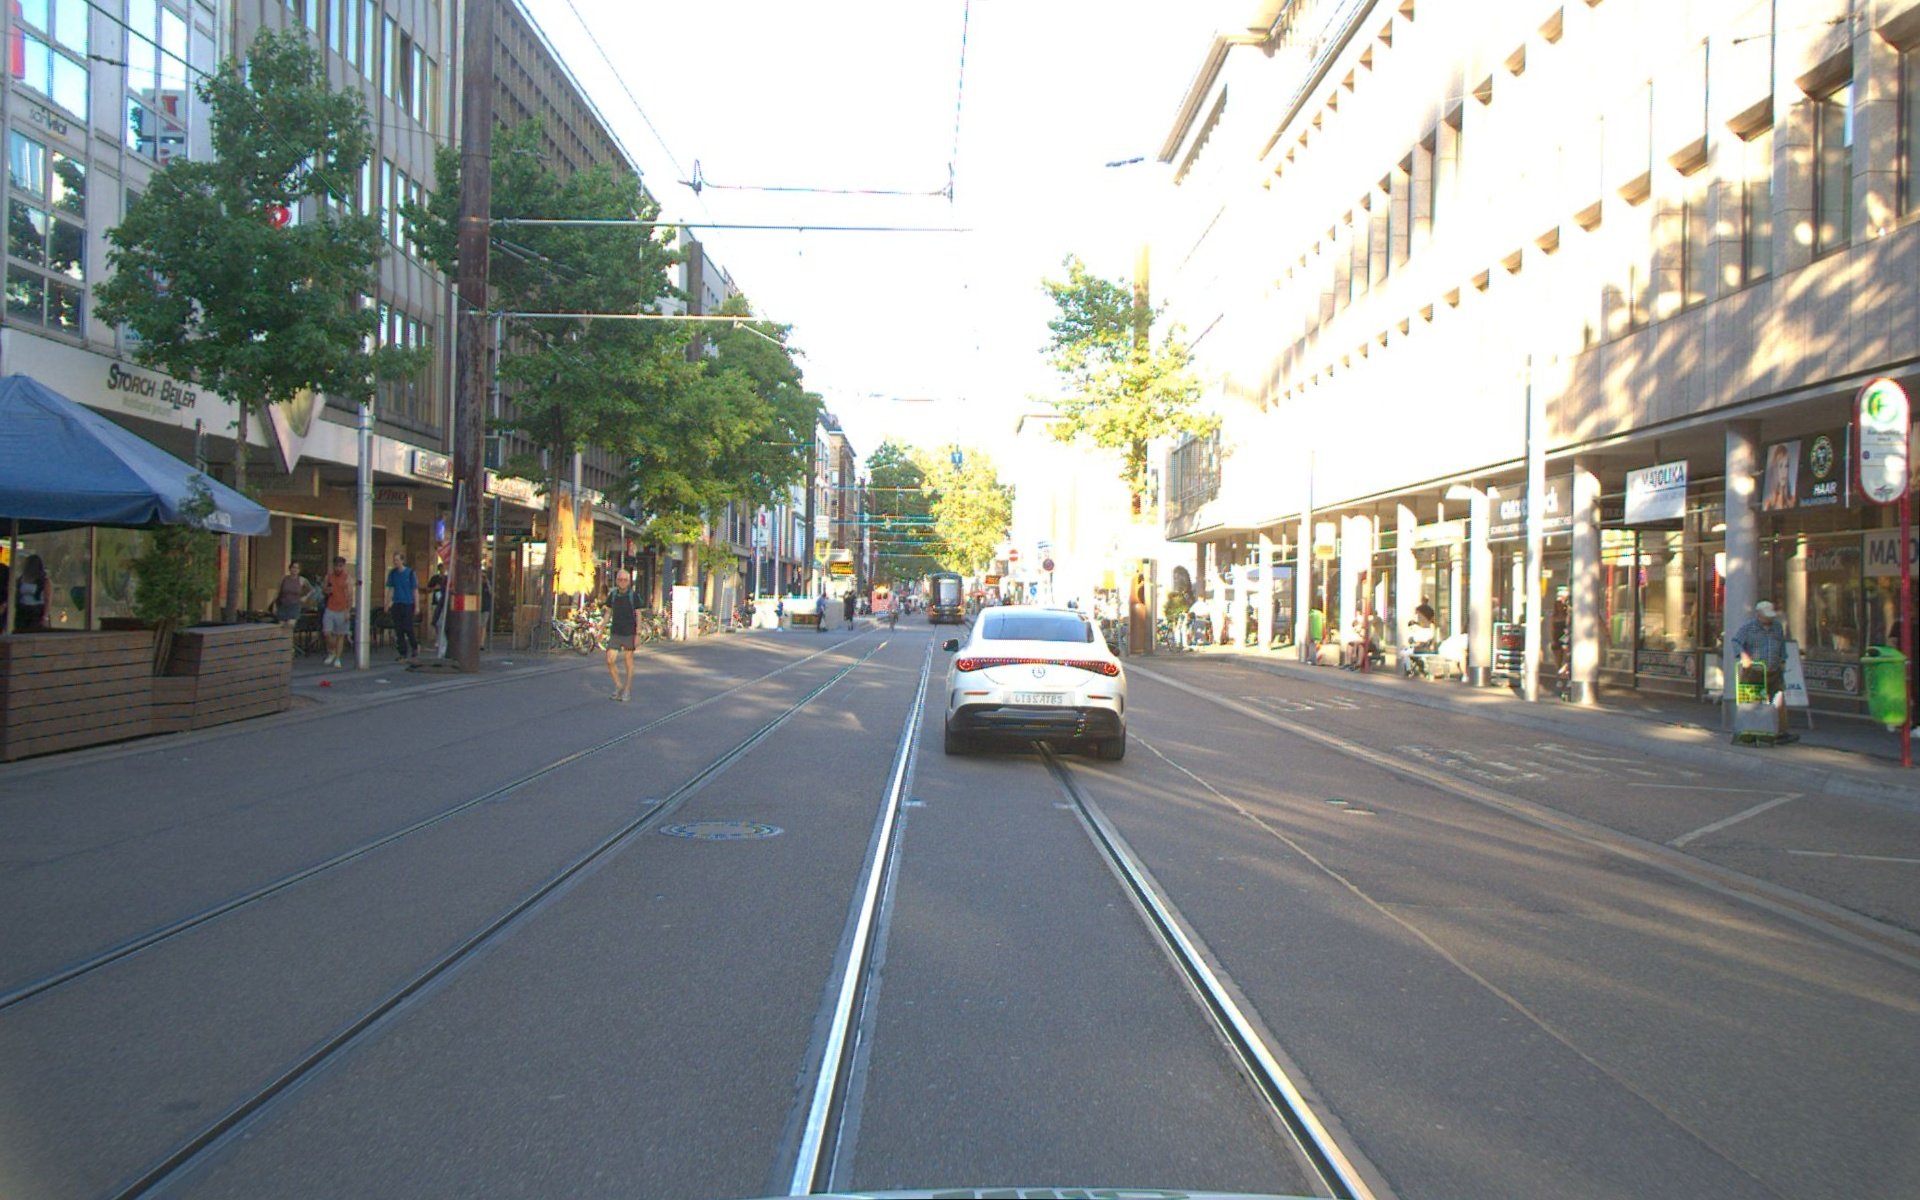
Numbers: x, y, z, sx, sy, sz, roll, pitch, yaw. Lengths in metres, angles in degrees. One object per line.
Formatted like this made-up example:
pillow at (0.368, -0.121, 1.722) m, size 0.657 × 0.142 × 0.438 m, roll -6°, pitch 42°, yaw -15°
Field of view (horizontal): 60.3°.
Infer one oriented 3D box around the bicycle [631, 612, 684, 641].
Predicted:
bicycle at (-8.969, 0.783, 49.028) m, size 1.462 × 0.797 × 0.344 m, roll 2°, pitch 0°, yaw 0°

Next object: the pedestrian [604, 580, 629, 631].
pedestrian at (-12.326, 0.192, 59.352) m, size 0.776 × 1.797 × 0.533 m, roll 1°, pitch 0°, yaw -25°

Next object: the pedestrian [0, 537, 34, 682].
pedestrian at (-12.046, 0.107, 20.589) m, size 0.585 × 1.775 × 0.671 m, roll 2°, pitch 0°, yaw 0°

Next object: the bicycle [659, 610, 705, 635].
bicycle at (-9.450, 0.763, 56.280) m, size 1.462 × 0.797 × 0.344 m, roll 2°, pitch 0°, yaw 0°

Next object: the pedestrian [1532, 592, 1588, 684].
pedestrian at (11.467, 0.712, 31.635) m, size 0.729 × 1.730 × 0.857 m, roll 1°, pitch 0°, yaw 0°

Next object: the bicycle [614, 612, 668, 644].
bicycle at (-9.180, 0.798, 47.601) m, size 1.462 × 0.855 × 0.344 m, roll 2°, pitch 0°, yaw 0°

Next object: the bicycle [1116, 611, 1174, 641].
bicycle at (6.954, 0.961, 62.196) m, size 2.076 × 1.115 × 0.608 m, roll 0°, pitch 0°, yaw -12°

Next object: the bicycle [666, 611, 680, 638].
bicycle at (-8.685, 0.733, 50.028) m, size 0.337 × 0.797 × 1.402 m, roll 2°, pitch 0°, yaw -8°

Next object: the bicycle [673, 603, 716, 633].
bicycle at (-9.430, 0.634, 58.690) m, size 1.466 × 1.027 × 0.344 m, roll 2°, pitch 0°, yaw -11°

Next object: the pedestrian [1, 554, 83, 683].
pedestrian at (-11.453, 0.225, 20.645) m, size 0.585 × 1.559 × 0.671 m, roll 2°, pitch 0°, yaw 0°

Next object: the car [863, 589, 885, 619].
car at (-8.715, 0.379, 168.469) m, size 1.953 × 2.948 × 5.274 m, roll 1°, pitch 0°, yaw 0°

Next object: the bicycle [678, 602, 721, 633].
bicycle at (-9.304, 0.632, 59.131) m, size 1.466 × 1.047 × 0.344 m, roll 2°, pitch 0°, yaw -11°

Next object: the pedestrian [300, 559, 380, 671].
pedestrian at (-10.204, 0.246, 27.230) m, size 0.832 × 1.771 × 0.835 m, roll 2°, pitch 0°, yaw 19°

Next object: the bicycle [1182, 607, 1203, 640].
bicycle at (8.319, 0.845, 59.345) m, size 0.553 × 1.147 × 1.930 m, roll -1°, pitch 0°, yaw 3°

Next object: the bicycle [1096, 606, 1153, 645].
bicycle at (5.745, 0.877, 57.663) m, size 1.874 × 1.304 × 0.608 m, roll -1°, pitch 0°, yaw -12°

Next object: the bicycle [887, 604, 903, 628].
bicycle at (-3.305, 0.793, 84.220) m, size 0.784 × 1.162 × 2.256 m, roll 3°, pitch 0°, yaw -2°

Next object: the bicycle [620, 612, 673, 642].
bicycle at (-9.154, 0.786, 48.332) m, size 1.462 × 0.797 × 0.344 m, roll 2°, pitch 0°, yaw 0°

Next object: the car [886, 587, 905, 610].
car at (-7.266, -0.175, 187.277) m, size 1.871 × 2.504 × 5.274 m, roll 1°, pitch 0°, yaw 0°

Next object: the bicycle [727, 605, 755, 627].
bicycle at (-10.631, 0.761, 80.306) m, size 0.703 × 1.027 × 2.041 m, roll 1°, pitch 0°, yaw 13°

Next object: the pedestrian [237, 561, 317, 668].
pedestrian at (-11.005, 0.228, 26.673) m, size 0.831 × 1.666 × 0.762 m, roll 2°, pitch 0°, yaw 19°

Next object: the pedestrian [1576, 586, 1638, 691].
pedestrian at (11.512, 0.673, 29.434) m, size 0.729 × 1.824 × 0.857 m, roll 1°, pitch 0°, yaw 0°

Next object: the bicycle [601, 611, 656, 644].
bicycle at (-9.341, 0.779, 46.596) m, size 1.462 × 0.855 × 0.344 m, roll 2°, pitch 0°, yaw 0°

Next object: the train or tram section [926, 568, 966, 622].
train or tram section at (-0.998, -0.355, 118.122) m, size 2.639 × 3.578 × 12.543 m, roll 1°, pitch 0°, yaw -1°

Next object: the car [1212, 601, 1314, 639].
car at (12.236, 0.798, 66.928) m, size 3.728 × 1.499 × 1.647 m, roll 1°, pitch 0°, yaw -6°

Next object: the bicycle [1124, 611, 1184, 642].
bicycle at (7.046, 0.959, 59.998) m, size 2.077 × 1.115 × 0.608 m, roll 0°, pitch 0°, yaw -14°

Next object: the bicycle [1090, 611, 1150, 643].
bicycle at (5.854, 0.989, 60.630) m, size 2.076 × 1.115 × 0.608 m, roll 1°, pitch -1°, yaw -12°

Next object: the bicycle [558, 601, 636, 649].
bicycle at (-8.705, 0.598, 39.663) m, size 1.754 × 1.096 × 0.377 m, roll 2°, pitch 0°, yaw -5°

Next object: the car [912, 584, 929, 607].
car at (-5.225, -0.577, 219.353) m, size 2.056 × 2.948 × 5.274 m, roll 1°, pitch 0°, yaw 0°

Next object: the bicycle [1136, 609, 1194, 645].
bicycle at (7.055, 0.917, 56.907) m, size 1.874 × 1.177 × 0.608 m, roll -1°, pitch 0°, yaw -12°

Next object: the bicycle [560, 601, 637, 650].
bicycle at (-8.755, 0.615, 40.117) m, size 1.754 × 1.096 × 0.377 m, roll 2°, pitch 0°, yaw -5°

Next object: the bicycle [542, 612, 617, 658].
bicycle at (-8.486, 0.773, 36.904) m, size 1.562 × 0.947 × 0.377 m, roll 2°, pitch 0°, yaw 6°

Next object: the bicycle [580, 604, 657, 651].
bicycle at (-8.535, 0.679, 41.334) m, size 1.810 × 1.096 × 0.377 m, roll 2°, pitch 0°, yaw -5°

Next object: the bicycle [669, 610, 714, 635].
bicycle at (-9.323, 0.773, 57.495) m, size 1.462 × 0.797 × 0.344 m, roll 2°, pitch 0°, yaw 0°

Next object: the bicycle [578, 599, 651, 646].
bicycle at (-9.168, 0.602, 43.900) m, size 1.808 × 1.160 × 0.377 m, roll 2°, pitch 0°, yaw 0°

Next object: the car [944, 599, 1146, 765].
car at (0.771, 0.764, 17.465) m, size 1.819 × 1.481 × 4.174 m, roll 2°, pitch 0°, yaw -1°

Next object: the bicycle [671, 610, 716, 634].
bicycle at (-9.297, 0.767, 57.733) m, size 1.462 × 0.797 × 0.344 m, roll 2°, pitch 0°, yaw 0°

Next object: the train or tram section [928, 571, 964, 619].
train or tram section at (-1.114, -0.374, 130.673) m, size 2.639 × 3.578 × 12.543 m, roll 1°, pitch 0°, yaw -1°

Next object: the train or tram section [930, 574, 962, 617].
train or tram section at (-1.230, -0.386, 142.512) m, size 2.639 × 3.578 × 11.141 m, roll 1°, pitch 0°, yaw -1°
